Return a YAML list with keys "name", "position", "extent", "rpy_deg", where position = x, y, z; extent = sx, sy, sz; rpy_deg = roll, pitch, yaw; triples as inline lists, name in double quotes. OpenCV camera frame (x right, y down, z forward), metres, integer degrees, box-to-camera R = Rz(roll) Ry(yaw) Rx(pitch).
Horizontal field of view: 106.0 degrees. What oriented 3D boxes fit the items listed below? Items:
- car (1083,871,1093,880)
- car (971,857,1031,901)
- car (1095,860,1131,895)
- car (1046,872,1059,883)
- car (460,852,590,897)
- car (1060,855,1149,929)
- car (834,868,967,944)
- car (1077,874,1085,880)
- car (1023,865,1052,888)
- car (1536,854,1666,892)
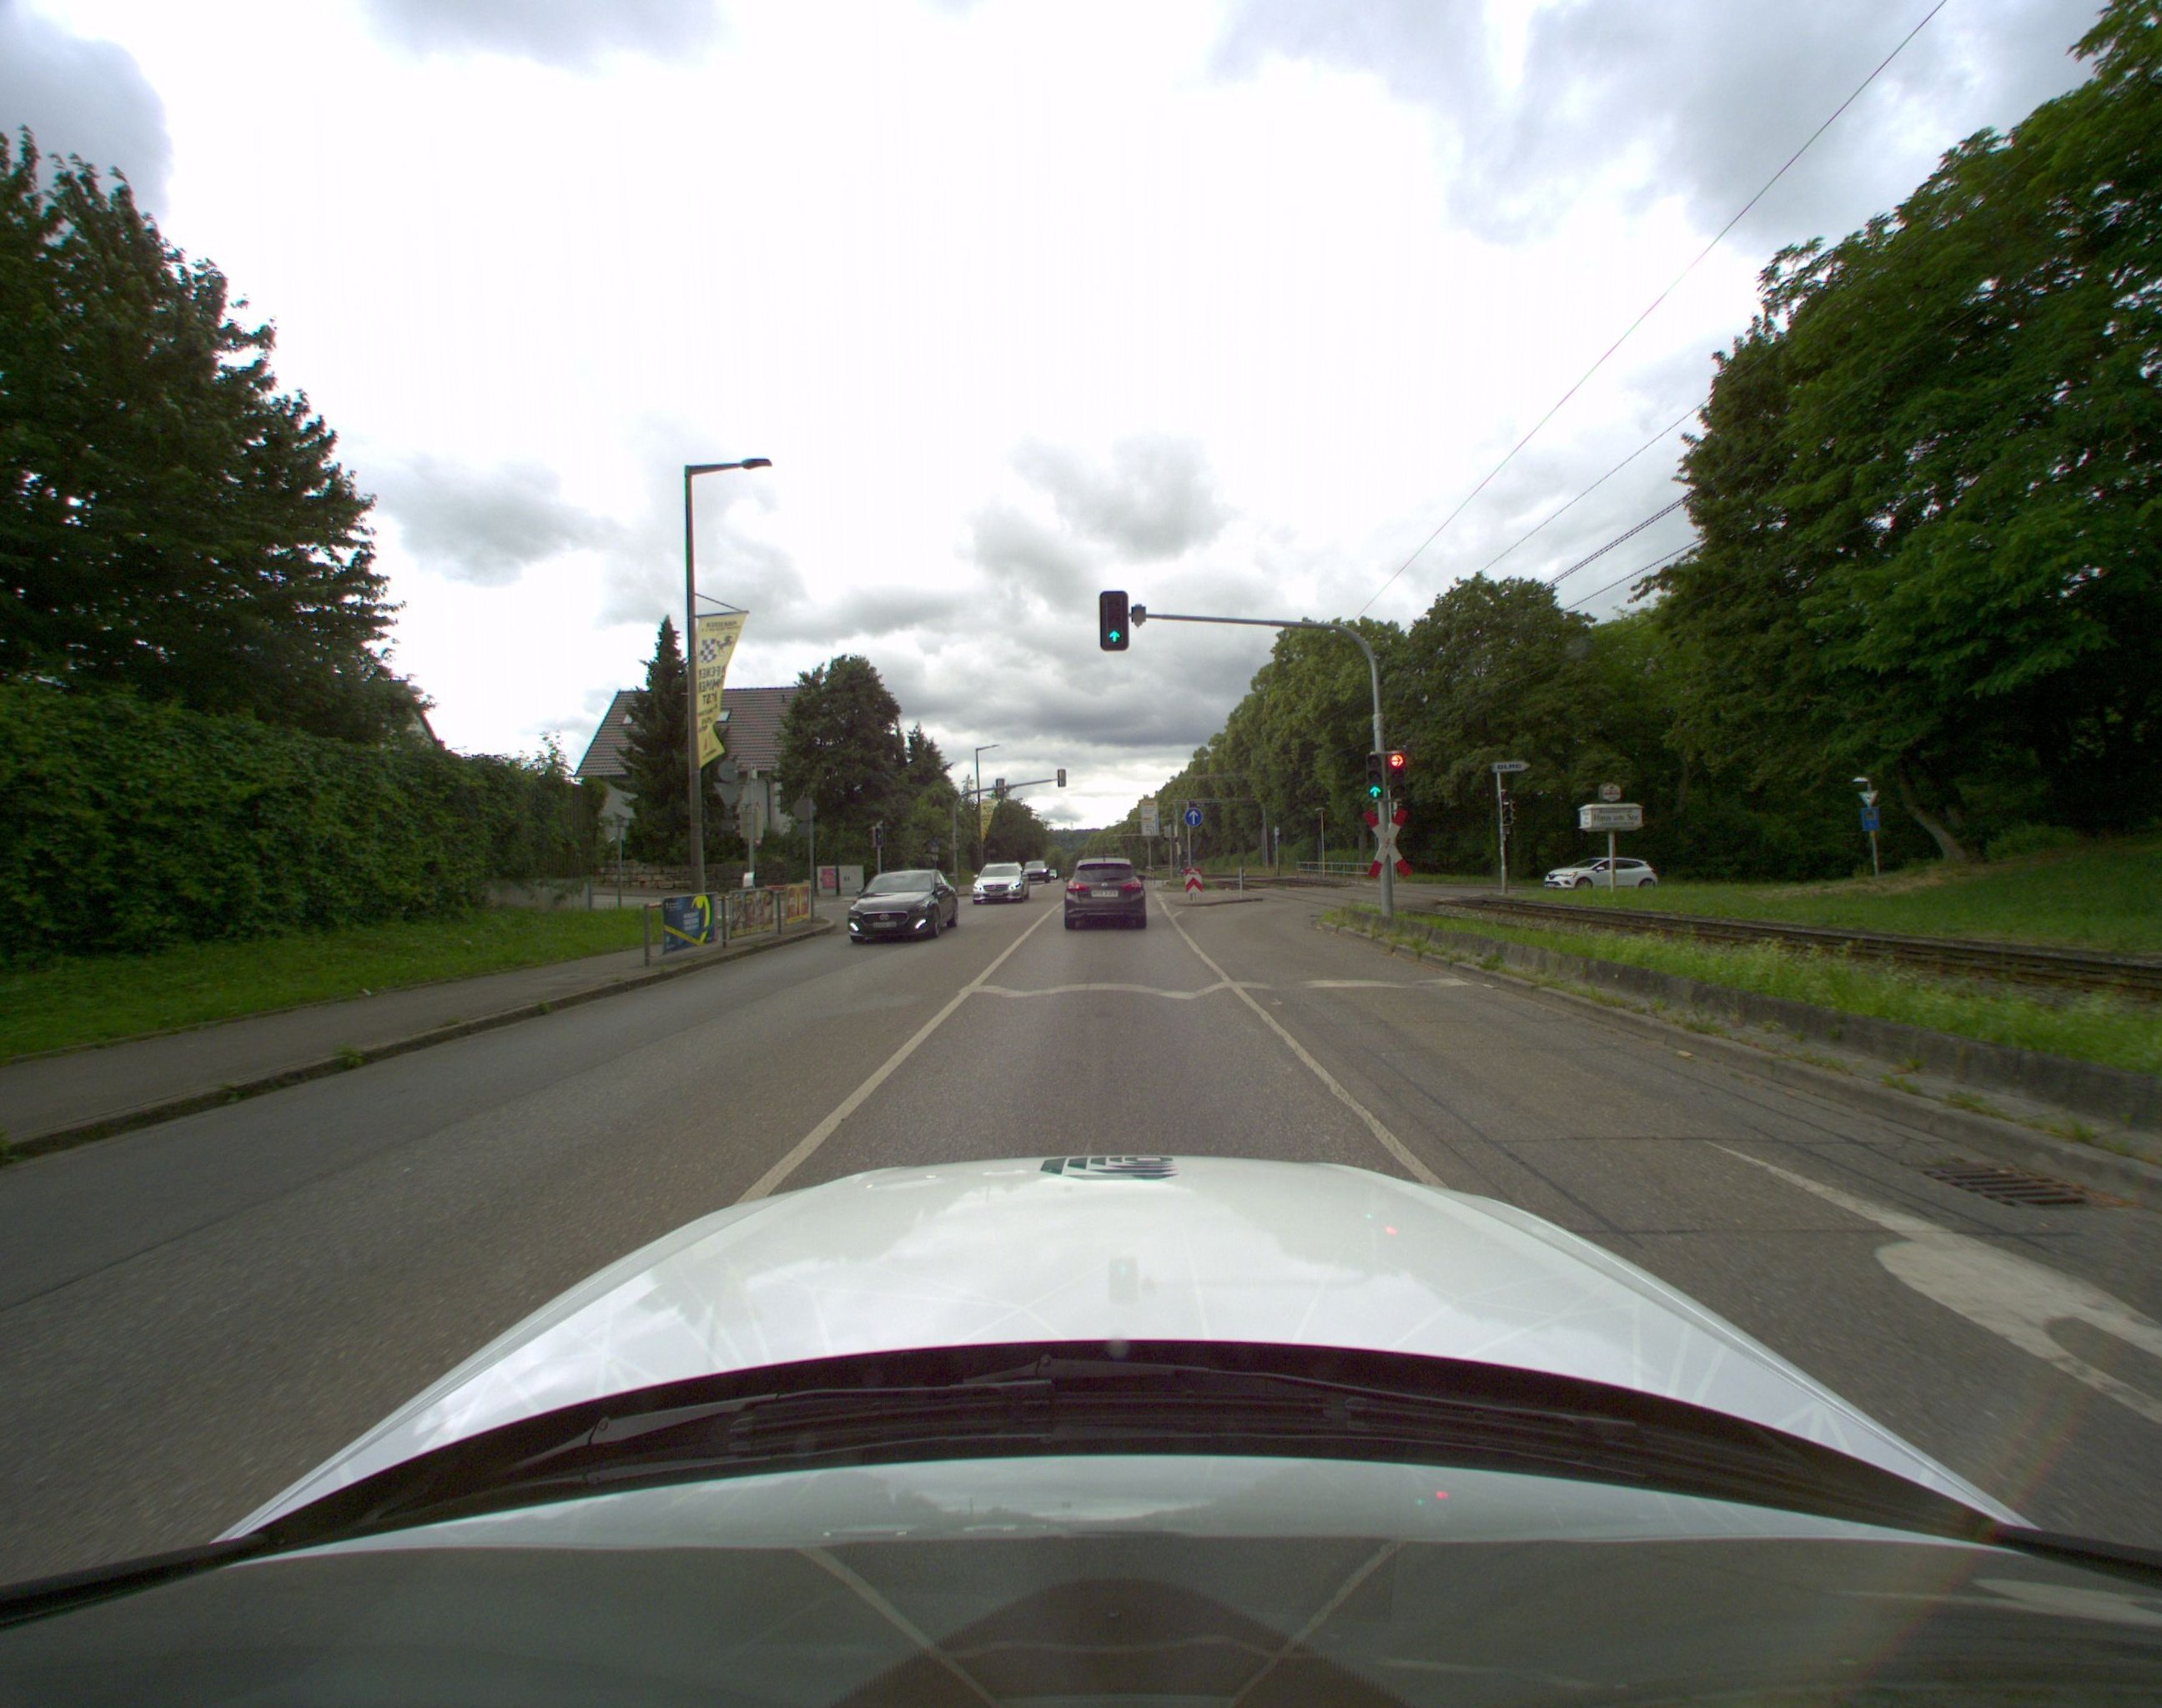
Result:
- name: "car"
  position: [1.139, 3.576, 135.363]
  extent: [1.736, 1.310, 3.999]
  rpy_deg: [0, 0, 0]
- name: "car"
  position: [-3.011, 0.901, 31.653]
  extent: [1.813, 1.567, 5.204]
  rpy_deg: [-1, 0, 0]
- name: "car"
  position: [1.457, 1.037, 37.430]
  extent: [1.533, 1.478, 3.766]
  rpy_deg: [-2, 0, 2]
- name: "car"
  position: [-4.372, 3.635, 125.961]
  extent: [1.779, 1.696, 4.000]
  rpy_deg: [-2, -1, 0]
- name: "car"
  position: [-22.459, 0.814, 33.021]
  extent: [3.882, 1.599, 1.841]
  rpy_deg: [3, 0, -1]
- name: "car"
  position: [0.574, 0.799, 19.086]
  extent: [1.828, 1.519, 4.485]
  rpy_deg: [0, 0, 2]
- name: "car"
  position: [-3.855, 1.055, 18.130]
  extent: [1.805, 1.373, 4.163]
  rpy_deg: [-2, 0, 2]
- name: "car"
  position: [0.078, 4.865, 172.377]
  extent: [1.736, 1.310, 3.999]
  rpy_deg: [0, 0, 0]
- name: "car"
  position: [-3.103, 1.627, 58.591]
  extent: [1.895, 1.574, 4.481]
  rpy_deg: [0, -2, 0]
- name: "car"
  position: [20.722, 0.751, 32.560]
  extent: [3.979, 1.354, 1.997]
  rpy_deg: [2, -1, -4]
